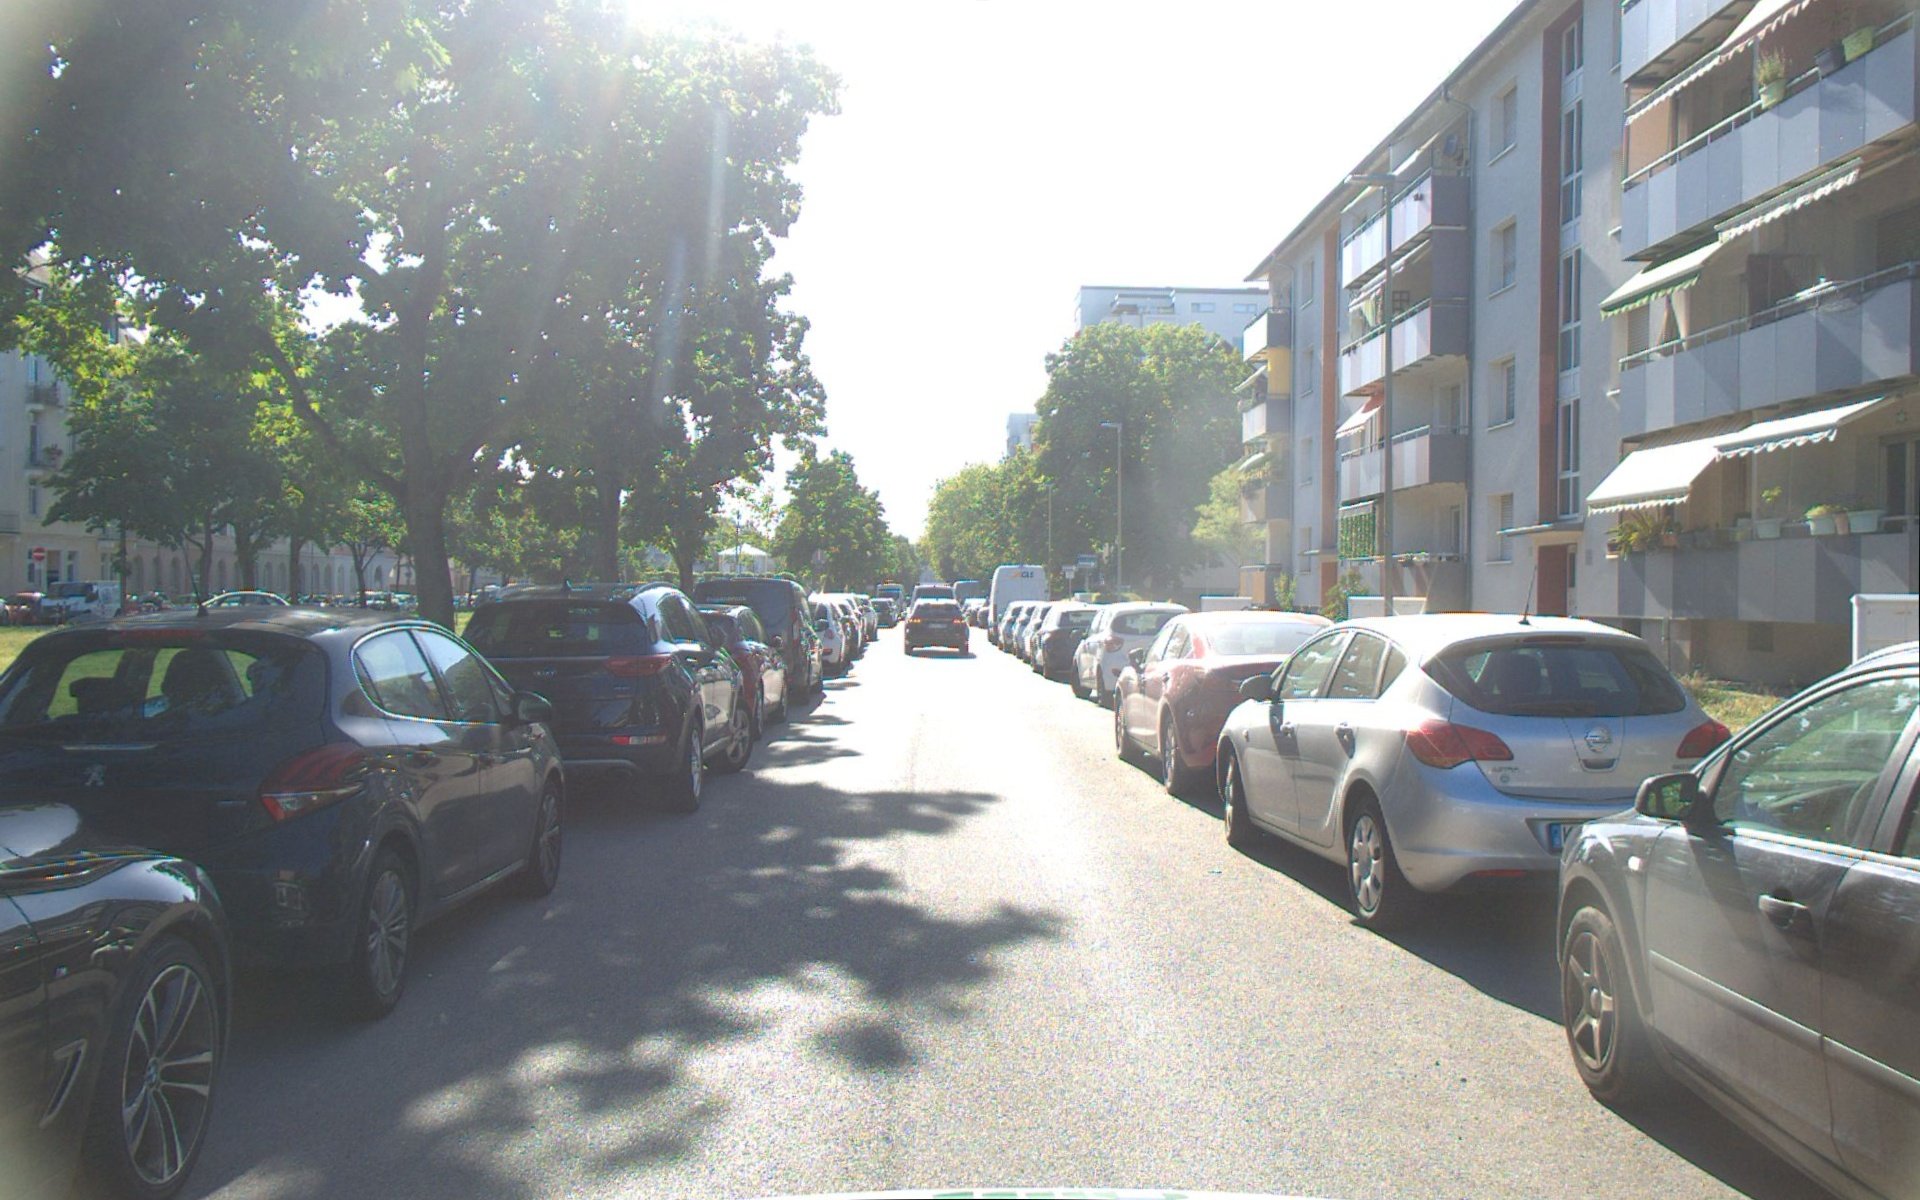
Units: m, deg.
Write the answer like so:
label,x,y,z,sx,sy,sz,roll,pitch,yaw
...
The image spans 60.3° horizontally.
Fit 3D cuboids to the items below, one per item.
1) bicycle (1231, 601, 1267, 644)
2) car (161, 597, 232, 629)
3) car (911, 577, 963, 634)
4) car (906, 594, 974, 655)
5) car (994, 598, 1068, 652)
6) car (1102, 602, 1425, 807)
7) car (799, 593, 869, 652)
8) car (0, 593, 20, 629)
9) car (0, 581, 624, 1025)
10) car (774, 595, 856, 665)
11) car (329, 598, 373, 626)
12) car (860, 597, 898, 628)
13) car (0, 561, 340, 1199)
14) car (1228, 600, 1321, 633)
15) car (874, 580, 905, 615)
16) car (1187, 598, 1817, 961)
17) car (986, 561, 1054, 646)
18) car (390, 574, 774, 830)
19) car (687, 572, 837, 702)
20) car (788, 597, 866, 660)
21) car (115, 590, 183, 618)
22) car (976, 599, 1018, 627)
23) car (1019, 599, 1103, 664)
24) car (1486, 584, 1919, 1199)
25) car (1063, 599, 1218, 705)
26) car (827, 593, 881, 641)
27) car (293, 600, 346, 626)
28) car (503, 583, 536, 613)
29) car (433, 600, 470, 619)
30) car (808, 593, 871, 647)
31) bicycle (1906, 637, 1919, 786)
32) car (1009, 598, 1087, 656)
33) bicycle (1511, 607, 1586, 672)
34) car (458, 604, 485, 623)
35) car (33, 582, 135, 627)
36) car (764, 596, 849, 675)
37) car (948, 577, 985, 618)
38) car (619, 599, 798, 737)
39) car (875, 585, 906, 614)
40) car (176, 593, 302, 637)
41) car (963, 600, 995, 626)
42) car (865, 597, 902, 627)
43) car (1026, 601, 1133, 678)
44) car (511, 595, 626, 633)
label,x,y,z,sx,sy,sz,roll,pitch,yaw
bicycle,8.191,0.653,46.977,0.584,1.197,2.013,1,-2,-2
car,-38.639,0.646,83.818,1.660,1.589,4.694,0,0,-4
car,-0.827,0.199,61.820,1.856,2.026,4.010,-1,0,0
car,-0.529,0.635,45.665,1.743,1.558,4.000,2,0,0
car,2.094,0.730,49.853,1.812,1.491,4.200,1,0,-3
car,2.486,0.788,14.854,1.806,1.498,5.063,0,0,-2
car,-3.699,0.635,49.096,1.783,1.638,4.737,-1,0,-1
car,-43.868,0.499,73.485,1.955,1.614,4.447,0,0,-5
car,-2.784,0.690,7.324,1.842,1.444,3.803,0,-1,-1
car,-3.350,0.662,38.904,1.720,1.518,4.665,-1,0,-3
car,-39.351,0.765,106.943,1.599,1.716,4.078,0,0,-4
car,-4.068,0.645,83.751,1.712,1.450,3.916,-2,-1,0
car,-2.747,0.715,2.507,1.954,1.543,5.154,-1,0,-4
car,14.091,0.749,74.207,3.811,1.454,1.657,0,0,-5
car,-5.109,-0.192,120.857,2.055,2.540,4.126,0,0,0
car,2.696,0.782,9.473,1.836,1.560,4.489,0,0,-5
car,2.025,0.109,57.823,2.099,2.760,6.841,-1,0,0
car,-2.765,0.669,13.310,1.984,1.654,4.757,-1,0,0
car,-2.954,0.548,25.654,1.826,1.816,4.990,0,-1,-1
car,-3.493,0.710,44.071,1.836,1.546,4.468,-2,0,-2
car,-38.463,0.184,78.517,1.660,1.301,3.523,0,0,-4
car,1.927,0.669,87.637,2.082,1.361,4.505,-2,0,0
car,2.389,0.716,39.797,1.686,1.461,4.151,0,0,-1
car,2.802,0.751,3.792,1.733,1.556,4.557,0,0,0
car,2.730,0.744,25.792,1.713,1.525,3.857,0,0,-5
car,-3.932,0.617,61.699,1.720,1.676,4.287,-1,0,0
car,-39.233,0.767,101.392,1.721,1.576,4.524,0,0,-4
car,-40.906,-0.177,153.717,1.878,2.792,5.620,0,0,-4
car,-40.219,0.775,130.994,1.809,1.465,3.773,0,0,-1
car,-3.988,0.643,55.177,1.805,1.667,4.714,-1,0,-1
bicycle,7.461,0.833,11.484,0.705,1.096,1.896,1,0,0
car,2.346,0.695,45.173,1.840,1.501,4.139,0,0,-1
bicycle,10.436,0.676,29.398,0.513,1.089,2.009,-2,0,-2
car,-40.000,1.109,135.516,1.487,1.465,3.229,0,0,-4
car,-38.667,0.174,73.132,2.040,1.905,5.094,0,0,-4
car,-3.150,0.703,34.465,1.555,1.518,3.683,-1,0,-3
car,0.415,-0.168,115.103,2.120,2.736,5.411,0,0,-4
car,-2.868,0.722,19.576,1.506,1.453,4.087,0,0,0
car,-4.806,-0.016,114.452,2.056,1.976,4.125,0,0,-1
car,-27.068,0.528,62.135,4.280,1.604,1.913,0,0,-26
car,1.071,0.712,93.570,1.743,1.395,4.126,0,0,0
car,-4.059,0.628,88.273,1.741,1.521,3.874,-2,-1,0
car,2.418,0.766,34.366,1.665,1.460,4.469,-1,0,-3
car,-15.934,0.568,67.339,4.280,1.433,1.905,0,2,-26
